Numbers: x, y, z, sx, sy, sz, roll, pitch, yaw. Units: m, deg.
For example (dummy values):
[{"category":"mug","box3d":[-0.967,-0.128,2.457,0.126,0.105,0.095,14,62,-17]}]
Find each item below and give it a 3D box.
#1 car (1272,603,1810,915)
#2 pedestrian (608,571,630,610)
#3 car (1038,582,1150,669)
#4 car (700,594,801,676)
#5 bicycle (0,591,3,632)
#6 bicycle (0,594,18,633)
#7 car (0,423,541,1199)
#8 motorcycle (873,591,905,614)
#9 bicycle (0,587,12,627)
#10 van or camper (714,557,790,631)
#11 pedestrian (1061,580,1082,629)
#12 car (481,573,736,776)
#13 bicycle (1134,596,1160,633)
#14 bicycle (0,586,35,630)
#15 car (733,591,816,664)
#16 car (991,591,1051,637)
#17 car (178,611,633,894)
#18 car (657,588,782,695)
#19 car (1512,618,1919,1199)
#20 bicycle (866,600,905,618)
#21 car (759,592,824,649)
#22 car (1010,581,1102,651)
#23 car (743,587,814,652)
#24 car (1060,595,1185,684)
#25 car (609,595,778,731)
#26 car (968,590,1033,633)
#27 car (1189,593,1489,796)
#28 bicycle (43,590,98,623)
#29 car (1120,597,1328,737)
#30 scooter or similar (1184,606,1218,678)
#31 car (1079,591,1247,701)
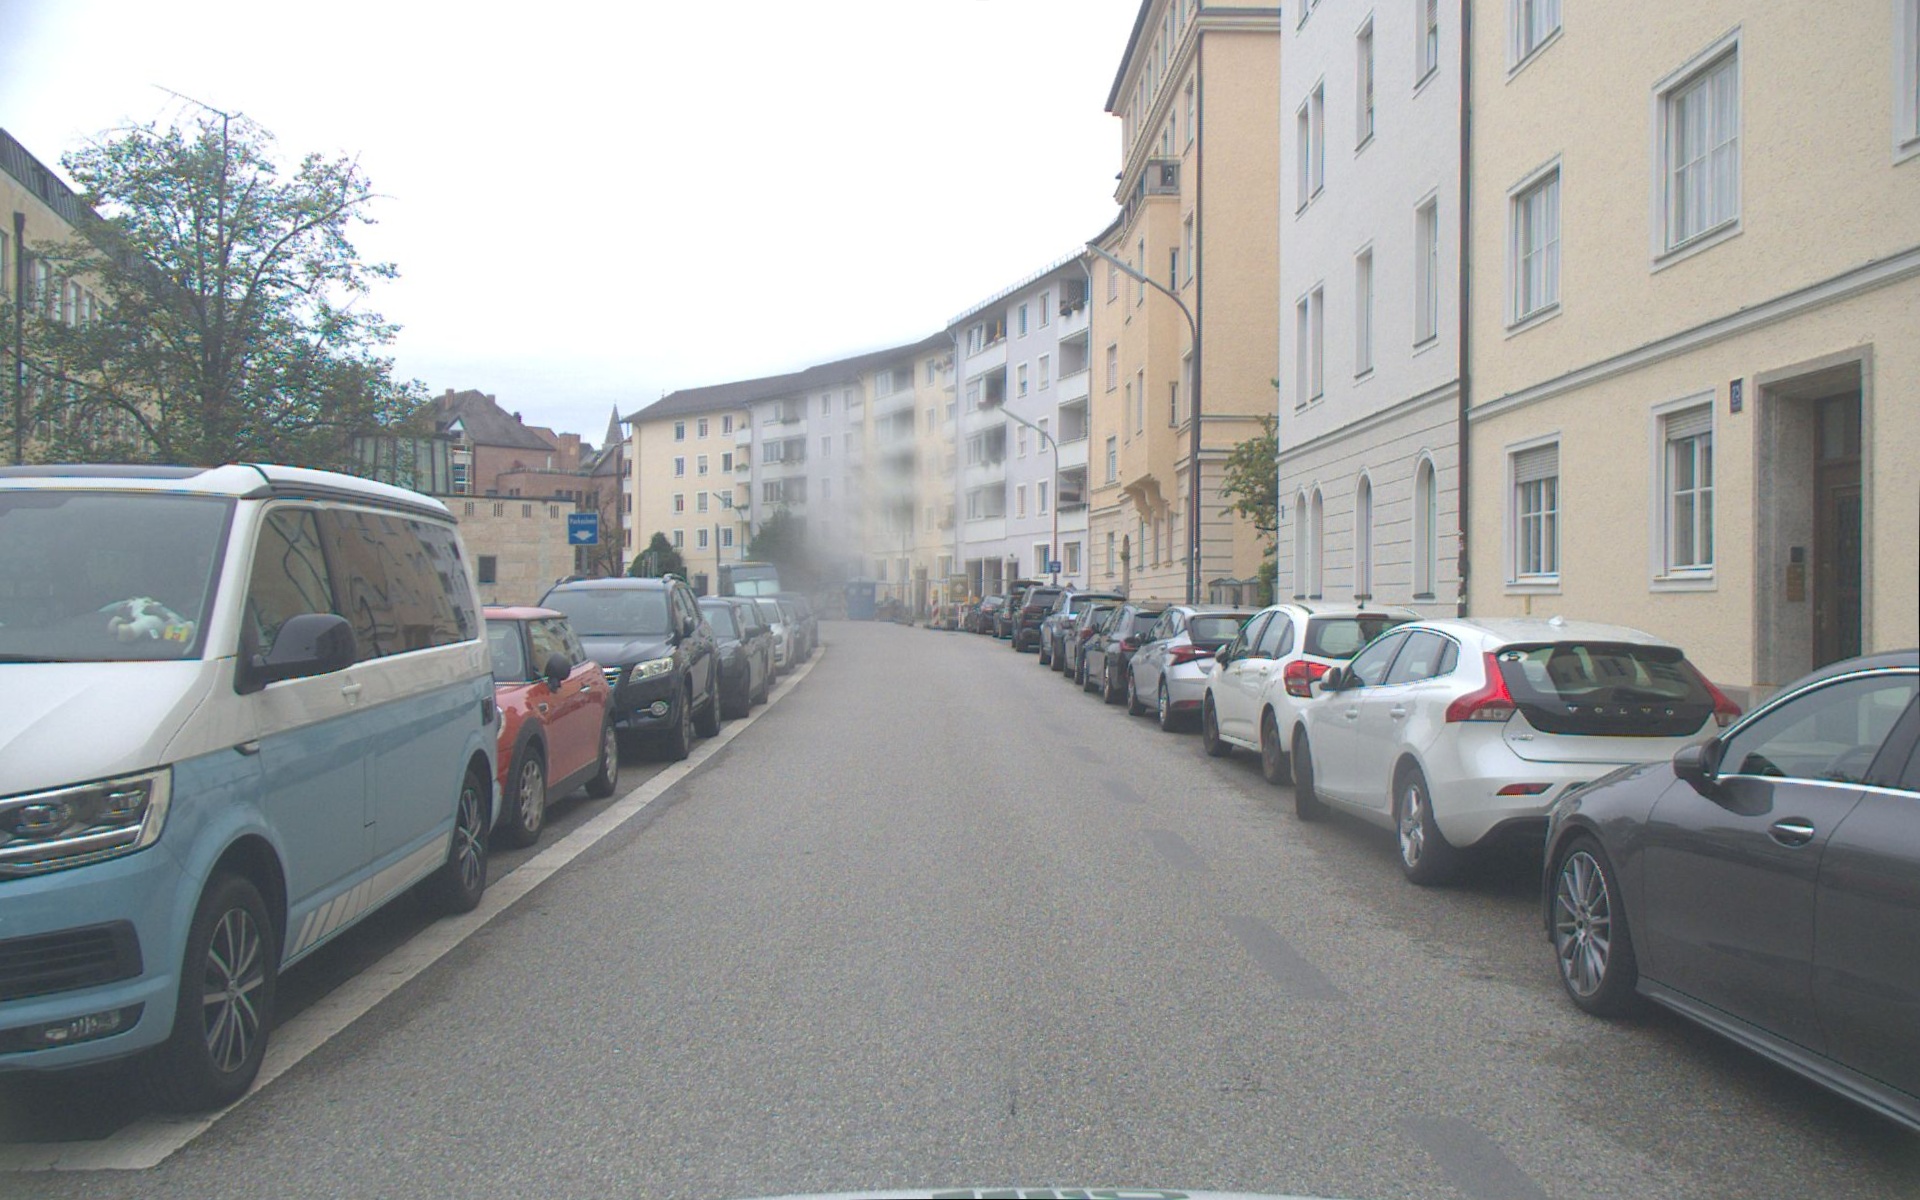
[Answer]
[{"category":"car","box3d":[3.273,0.791,10.288,1.690,1.454,4.292,1,0,-2]},{"category":"pedestrian","box3d":[-16.737,-0.454,81.132,0.833,1.899,0.707,1,0,-30]},{"category":"car","box3d":[2.786,0.489,35.319,1.809,1.692,4.496,1,0,-3]},{"category":"car","box3d":[-4.081,0.643,32.709,1.706,1.447,4.291,1,0,-4]},{"category":"bicycle","box3d":[-23.864,0.249,39.248,1.918,0.961,0.413,2,0,-14]},{"category":"bicycle","box3d":[-24.303,0.312,41.221,1.389,0.961,0.411,2,0,-25]},{"category":"car","box3d":[-3.080,0.563,6.376,1.877,1.994,4.958,-1,1,-3]},{"category":"motorcycle","box3d":[-4.036,0.131,94.255,0.920,1.242,2.487,1,0,-25]},{"category":"bicycle","box3d":[-23.938,0.142,39.858,1.830,0.961,0.412,2,0,-20]},{"category":"van or camper","box3d":[-7.961,-0.266,62.756,2.257,2.626,6.066,2,1,-13]},{"category":"pedestrian","box3d":[4.071,0.163,60.524,0.605,1.720,0.919,-3,0,-1]},{"category":"car","box3d":[-3.308,0.621,16.333,1.680,1.719,4.140,-1,0,-1]},{"category":"bicycle","box3d":[5.656,0.436,50.150,0.491,1.067,2.138,-2,0,0]},{"category":"bicycle","box3d":[-24.942,0.191,42.586,1.817,1.115,0.699,2,0,-19]},{"category":"car","box3d":[-4.187,0.582,37.799,1.598,1.520,4.272,-2,1,-3]},{"category":"car","box3d":[2.011,0.452,55.776,1.599,1.442,3.676,1,0,-4]},{"category":"car","box3d":[-3.397,0.844,10.904,1.768,1.431,3.708,-2,0,-1]},{"category":"car","box3d":[-3.775,0.603,26.546,1.598,1.520,4.098,2,1,-3]},{"category":"car","box3d":[3.265,0.845,4.663,1.737,1.454,4.613,1,0,-2]},{"category":"bicycle","box3d":[-4.611,0.578,102.258,2.204,1.088,0.912,1,0,-26]},{"category":"car","box3d":[-4.865,0.538,47.616,1.740,1.491,4.460,-2,1,-6]},{"category":"car","box3d":[2.571,0.385,45.579,2.126,1.769,5.023,1,0,-1]},{"category":"car","box3d":[-4.610,0.463,42.378,1.598,1.520,3.601,-2,1,-3]},{"category":"car","box3d":[2.911,0.676,30.460,1.790,1.475,4.083,1,0,-1]},{"category":"car","box3d":[-3.364,0.739,21.491,1.598,1.520,3.819,-2,1,-1]},{"category":"car","box3d":[1.476,0.398,62.029,1.871,1.503,4.941,1,0,-5]},{"category":"car","box3d":[3.305,0.750,15.200,1.618,1.570,3.991,1,0,-3]},{"category":"bicycle","box3d":[-26.989,0.202,50.193,1.385,0.961,0.412,2,0,-19]},{"category":"car","box3d":[3.146,0.743,20.522,1.690,1.475,4.185,2,1,-3]},{"category":"scooter or similar","box3d":[4.323,0.734,29.685,0.418,1.251,1.047,1,0,-1]},{"category":"car","box3d":[2.989,0.627,25.305,1.838,1.475,4.676,1,0,-2]}]
